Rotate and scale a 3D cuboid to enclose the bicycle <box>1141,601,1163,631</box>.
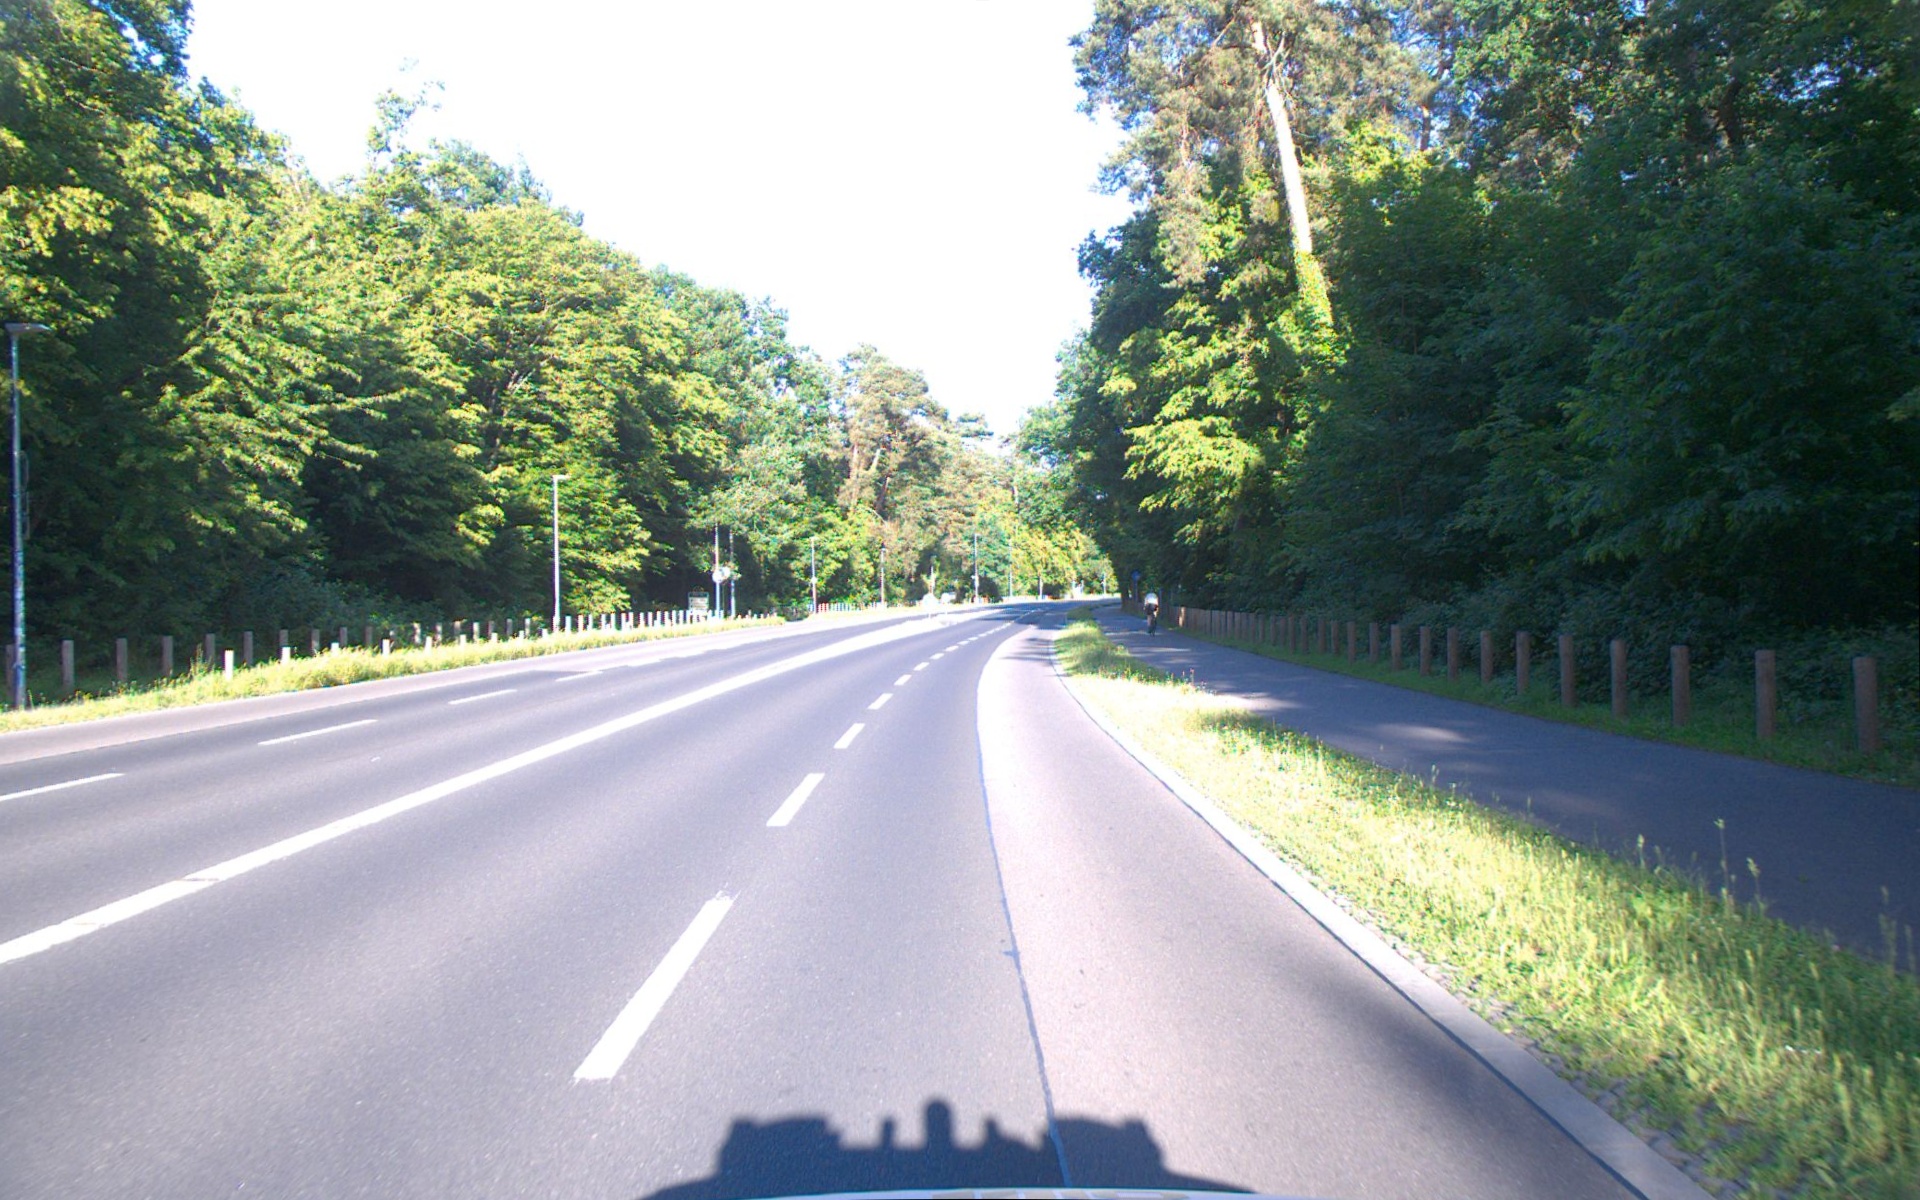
[{"bbox_3d":[7.019,0.585,60.574,0.697,1.074,2.054,0,-1,4],"label":"bicycle"}]

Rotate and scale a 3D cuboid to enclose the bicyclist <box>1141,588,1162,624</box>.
[{"bbox_3d":[7.027,0.216,60.652,0.697,1.311,1.105,0,-1,4],"label":"bicyclist"}]
